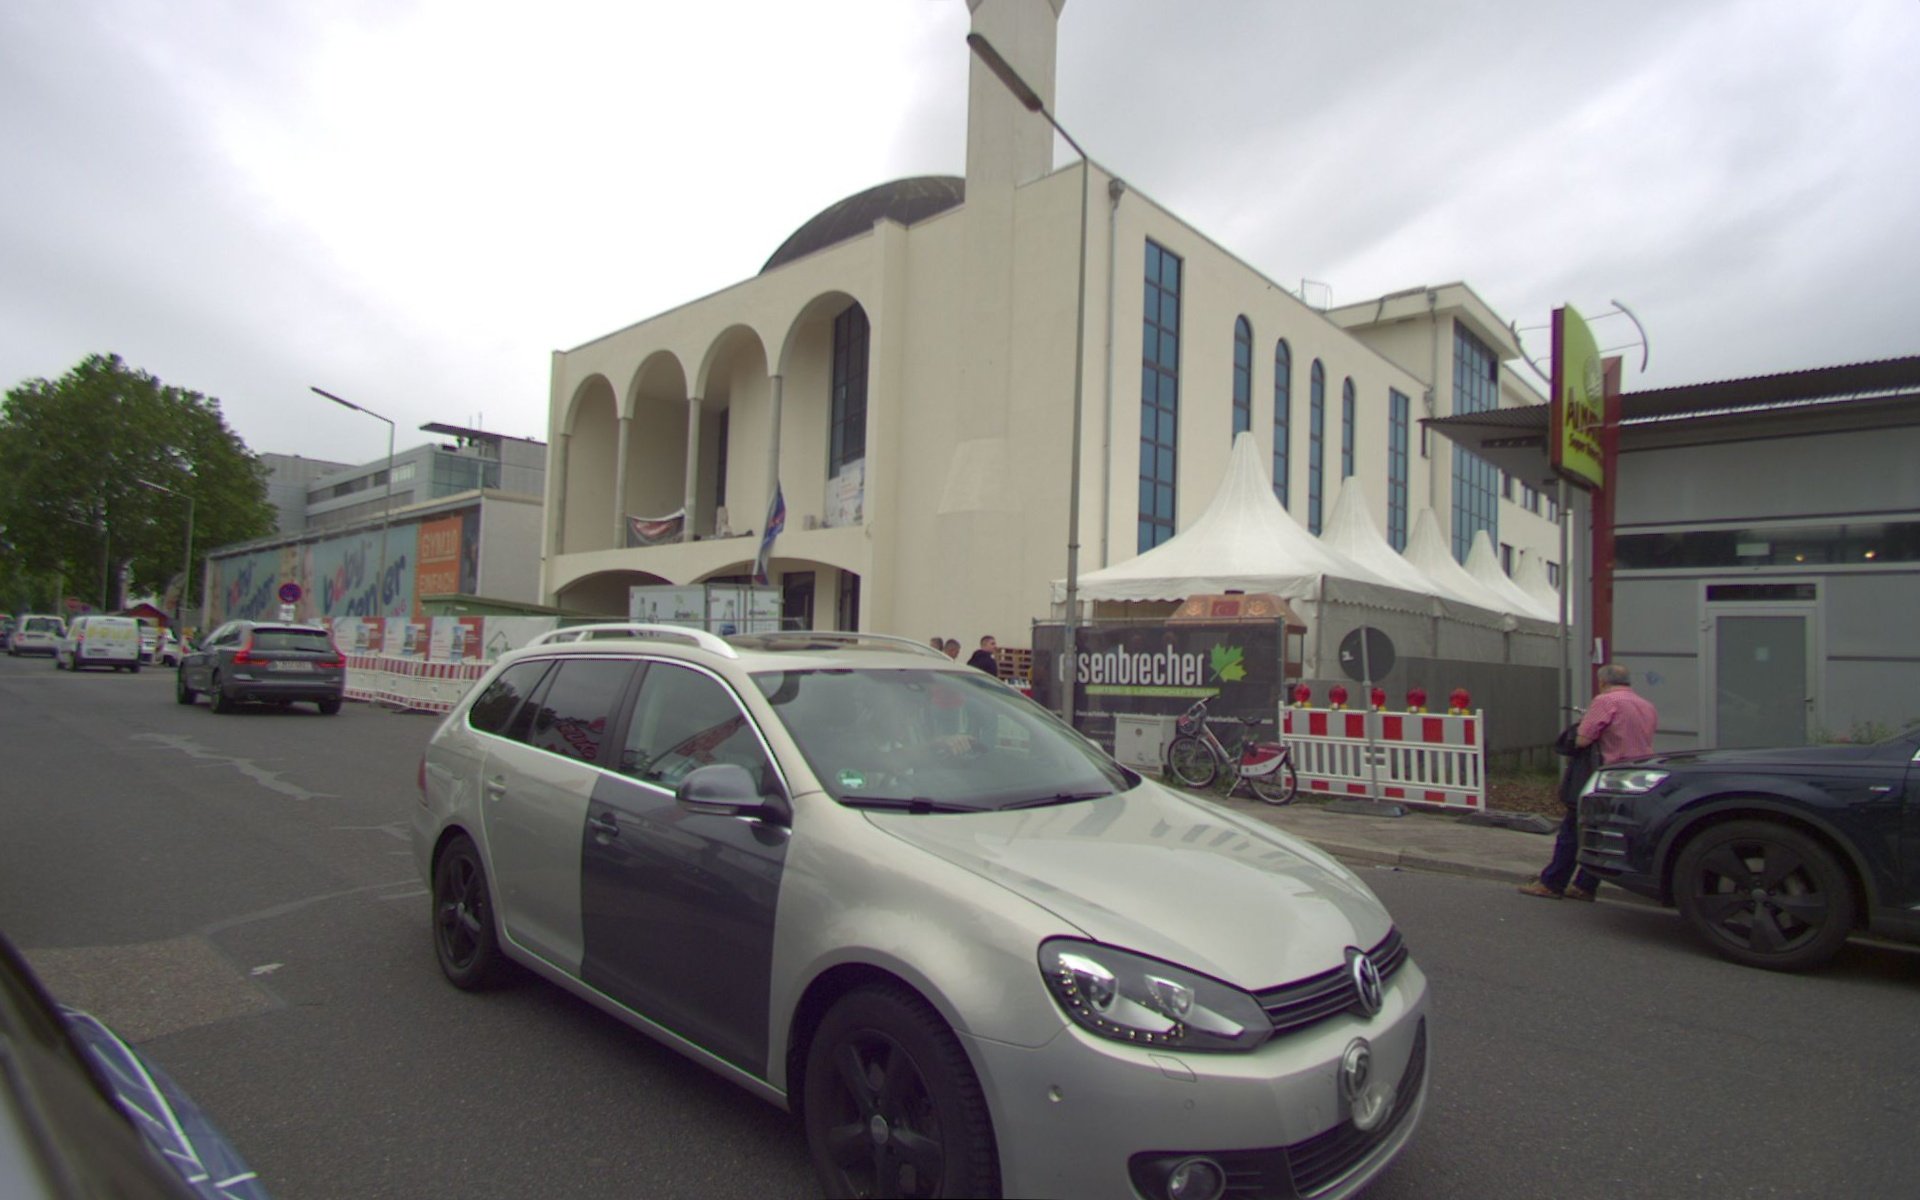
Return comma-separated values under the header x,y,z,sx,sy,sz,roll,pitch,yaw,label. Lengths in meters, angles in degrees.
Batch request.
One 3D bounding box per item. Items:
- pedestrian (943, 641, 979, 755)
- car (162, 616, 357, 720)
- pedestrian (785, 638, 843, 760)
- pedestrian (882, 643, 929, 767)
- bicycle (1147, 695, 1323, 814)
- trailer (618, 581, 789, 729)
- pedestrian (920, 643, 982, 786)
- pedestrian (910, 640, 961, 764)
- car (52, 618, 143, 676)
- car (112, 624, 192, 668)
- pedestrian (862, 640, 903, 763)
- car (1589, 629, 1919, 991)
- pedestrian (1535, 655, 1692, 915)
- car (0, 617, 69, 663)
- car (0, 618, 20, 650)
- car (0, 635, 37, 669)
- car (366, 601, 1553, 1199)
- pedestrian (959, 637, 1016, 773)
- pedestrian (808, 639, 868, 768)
x,y,z,sx,sy,sz,roll,pitch,yaw,label
0.020,1.426,14.833,0.484,1.624,0.540,1,-3,3,pedestrian
-13.079,1.226,18.786,4.494,1.697,1.912,-1,-5,42,car
-2.165,1.463,15.019,0.684,1.763,0.489,-2,-3,12,pedestrian
-0.744,1.415,13.785,0.562,1.624,0.491,-1,-3,-6,pedestrian
3.025,1.672,11.310,0.537,1.086,1.904,4,-3,-41,bicycle
-5.051,1.072,19.793,1.777,2.627,3.193,6,-5,-44,trailer
-0.110,1.391,12.516,0.512,1.706,0.527,-4,-4,32,pedestrian
-0.345,1.429,14.254,0.568,1.706,0.408,-3,-3,18,pedestrian
-28.339,1.527,33.207,4.134,1.774,1.671,-1,-5,42,car
-33.381,1.887,41.765,4.150,1.586,1.903,-1,-8,44,car
-1.140,1.482,14.952,0.521,1.763,0.491,-2,-3,0,pedestrian
5.915,1.085,4.781,4.730,1.704,1.845,-1,-8,44,car
4.483,1.239,6.977,0.667,1.634,0.652,4,-6,7,pedestrian
-40.665,1.739,44.379,4.383,1.821,1.775,0,-5,42,car
-64.848,2.222,68.125,4.956,2.029,1.905,0,-4,44,car
-47.796,2.581,50.838,3.947,1.584,1.710,-1,-6,43,car
-0.458,0.819,3.718,4.296,1.462,1.734,-1,-4,43,car
0.357,1.376,13.499,0.686,1.731,0.687,-2,-3,0,pedestrian
-1.710,1.449,14.245,0.684,1.763,0.489,-2,-3,12,pedestrian
